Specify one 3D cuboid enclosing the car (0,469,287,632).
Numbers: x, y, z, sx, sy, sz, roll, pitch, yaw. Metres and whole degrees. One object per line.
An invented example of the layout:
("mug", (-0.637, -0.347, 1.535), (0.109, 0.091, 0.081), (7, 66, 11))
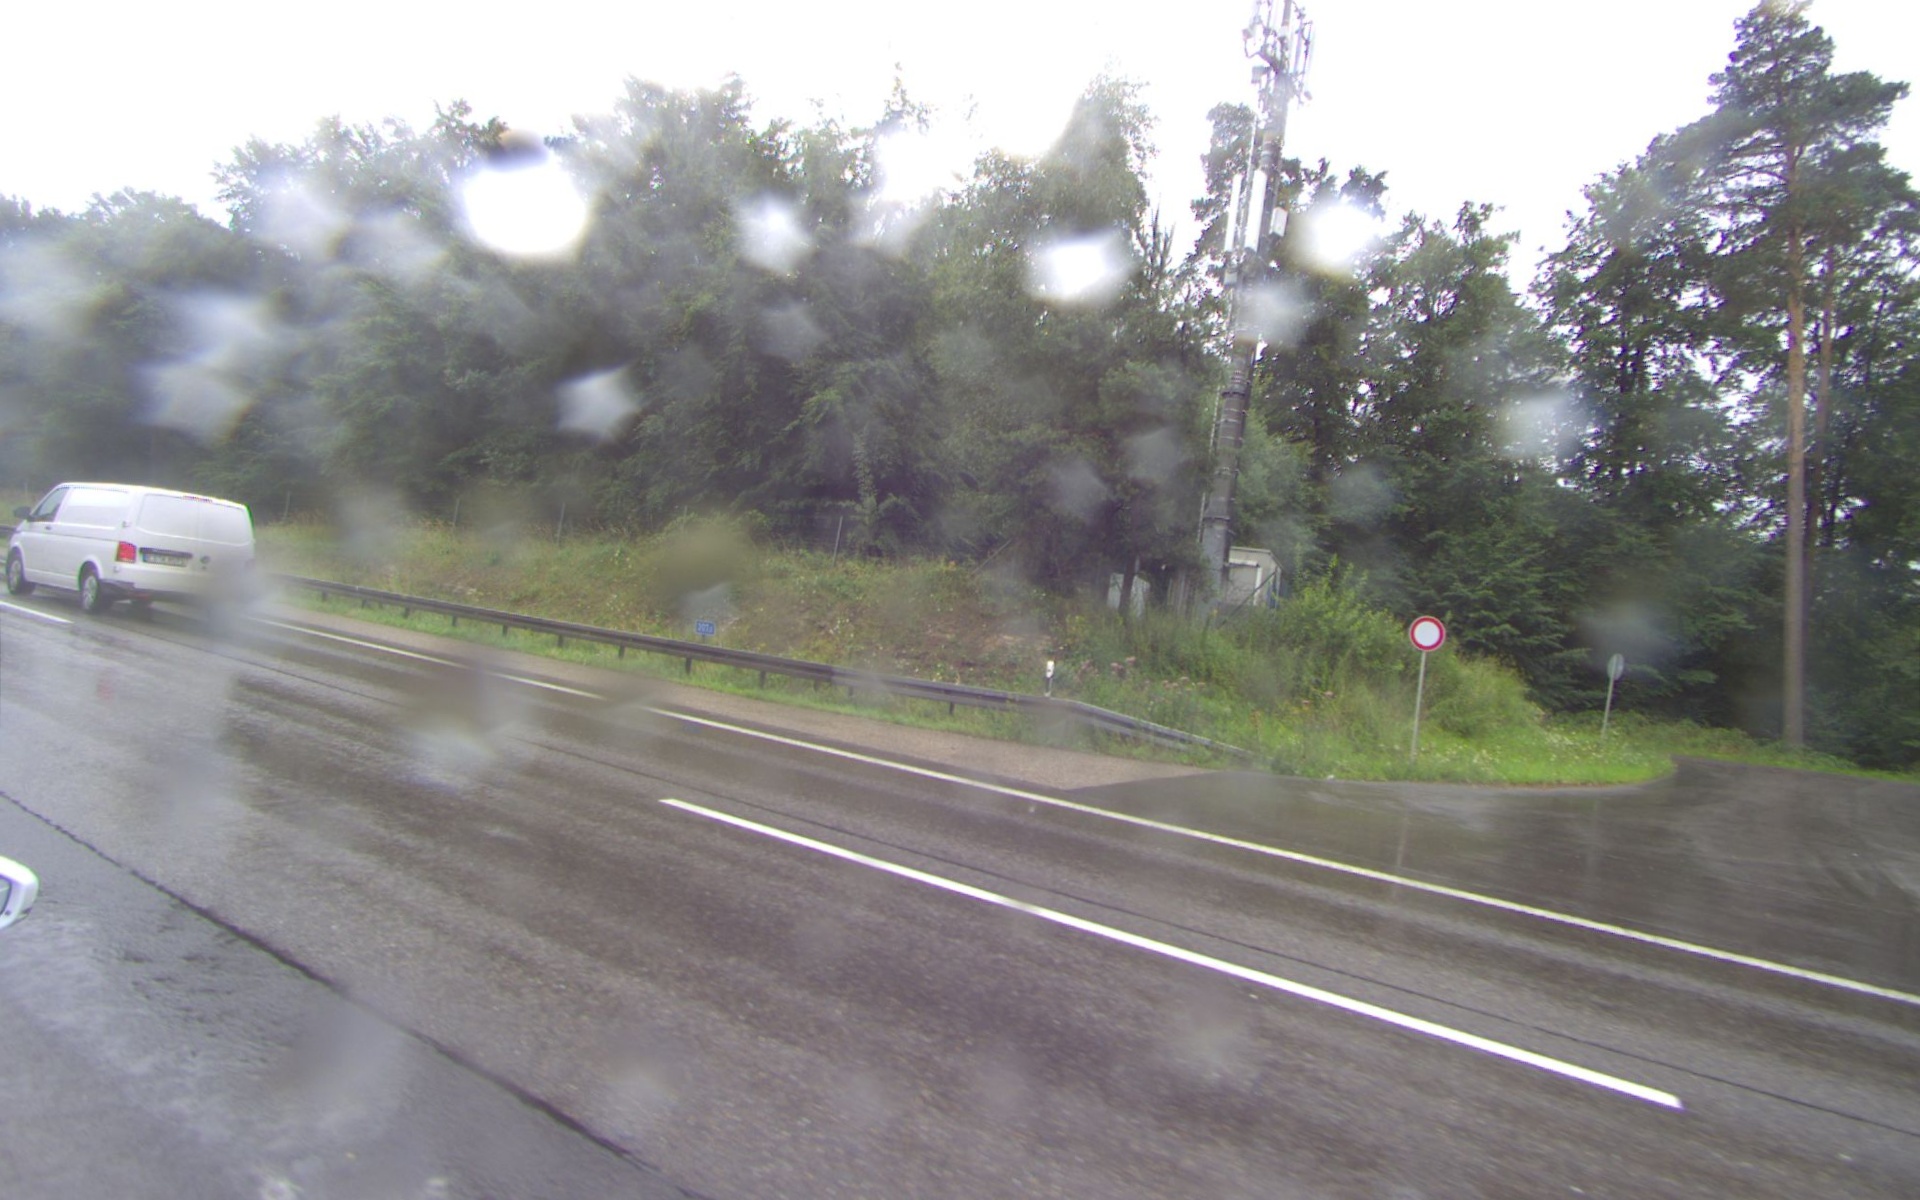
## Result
("car", (-13.238, -0.819, 16.140), (4.685, 1.943, 1.995), (7, -1, 29))
